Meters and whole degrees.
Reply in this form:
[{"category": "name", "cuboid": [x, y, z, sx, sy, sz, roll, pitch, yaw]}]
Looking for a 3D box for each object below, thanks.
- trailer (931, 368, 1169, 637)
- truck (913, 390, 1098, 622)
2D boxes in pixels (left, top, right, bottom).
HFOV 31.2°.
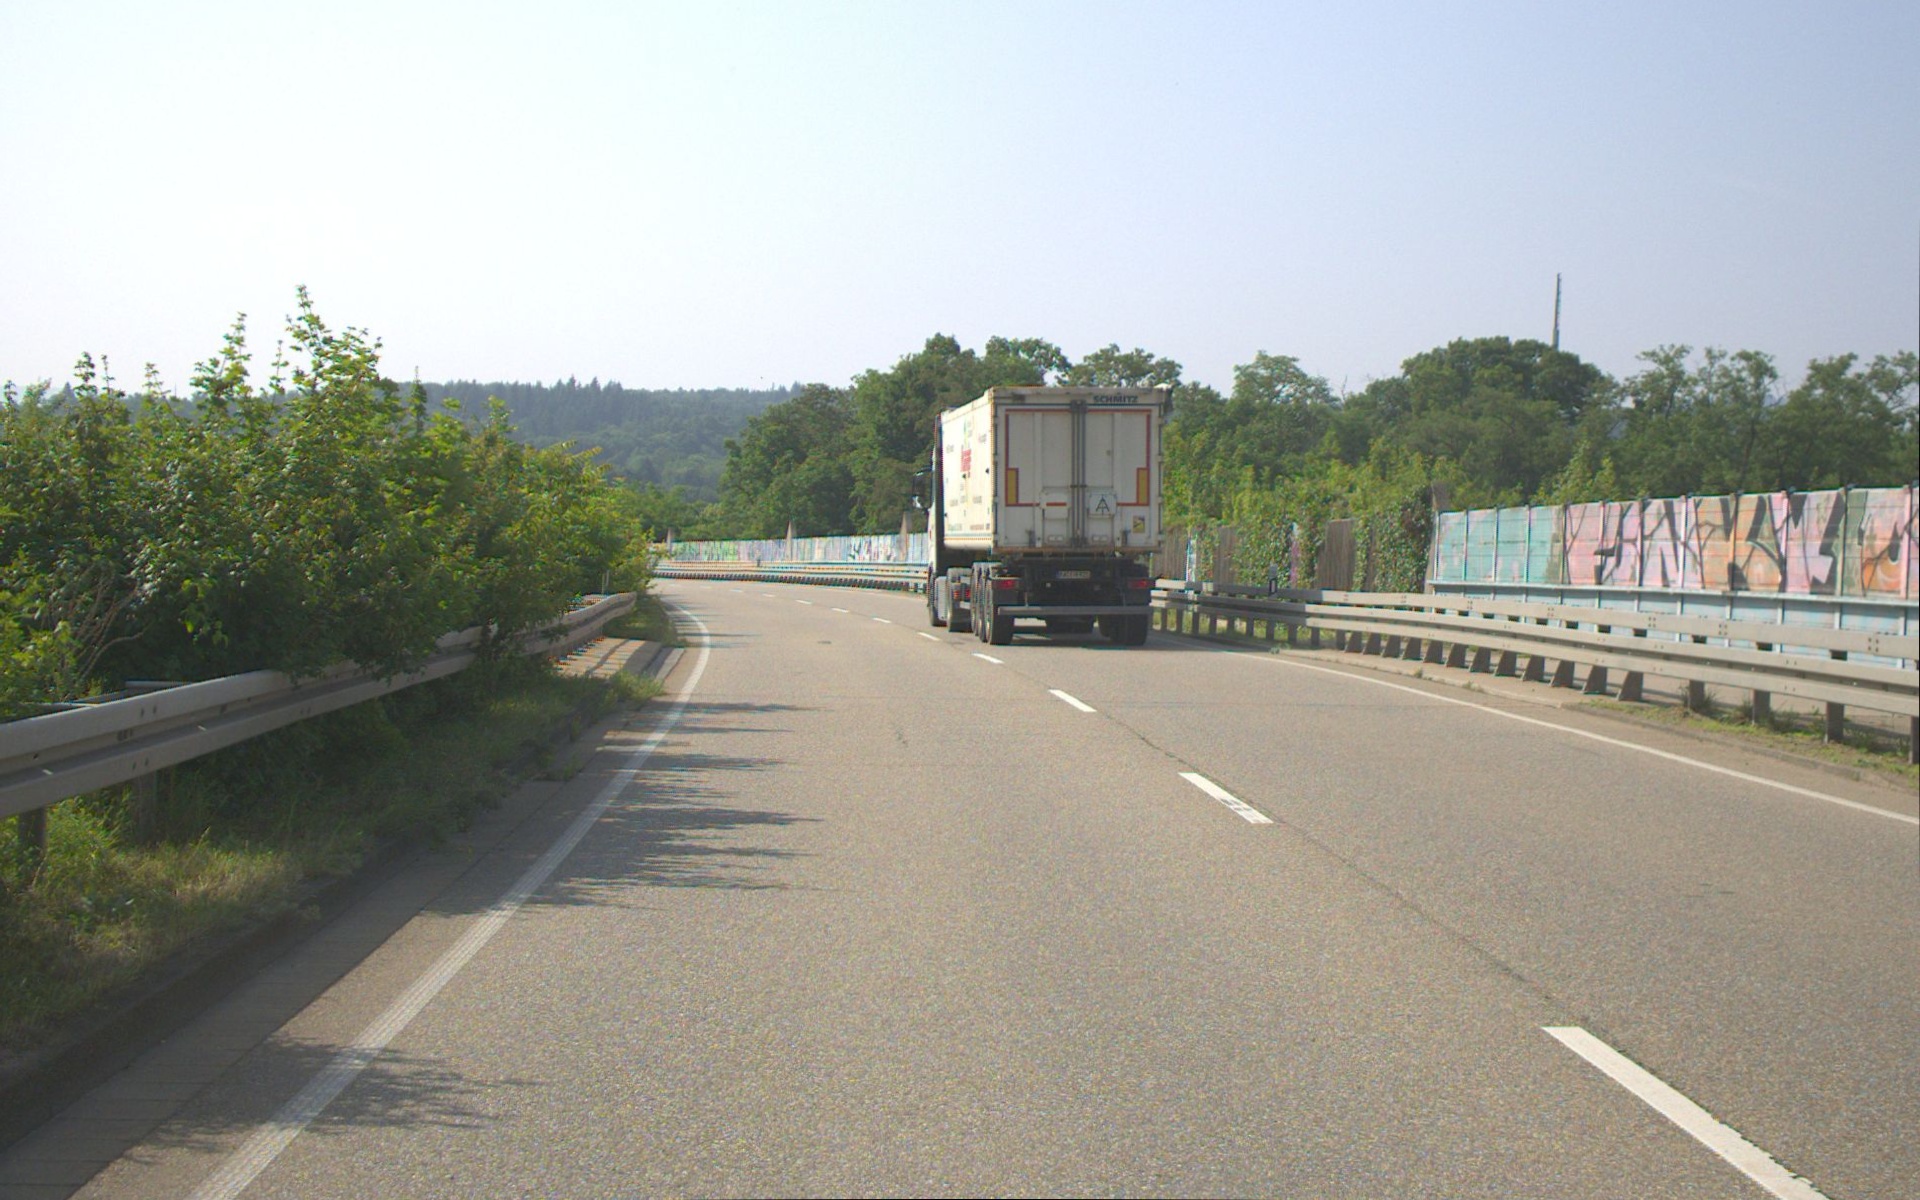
[{"category": "trailer", "cuboid": [1.276, -1.517, 54.992, 2.679, 3.893, 9.674, 0, 1, -5]}, {"category": "truck", "cuboid": [0.736, -1.649, 60.795, 2.658, 3.882, 5.649, 1, 1, -5]}]
